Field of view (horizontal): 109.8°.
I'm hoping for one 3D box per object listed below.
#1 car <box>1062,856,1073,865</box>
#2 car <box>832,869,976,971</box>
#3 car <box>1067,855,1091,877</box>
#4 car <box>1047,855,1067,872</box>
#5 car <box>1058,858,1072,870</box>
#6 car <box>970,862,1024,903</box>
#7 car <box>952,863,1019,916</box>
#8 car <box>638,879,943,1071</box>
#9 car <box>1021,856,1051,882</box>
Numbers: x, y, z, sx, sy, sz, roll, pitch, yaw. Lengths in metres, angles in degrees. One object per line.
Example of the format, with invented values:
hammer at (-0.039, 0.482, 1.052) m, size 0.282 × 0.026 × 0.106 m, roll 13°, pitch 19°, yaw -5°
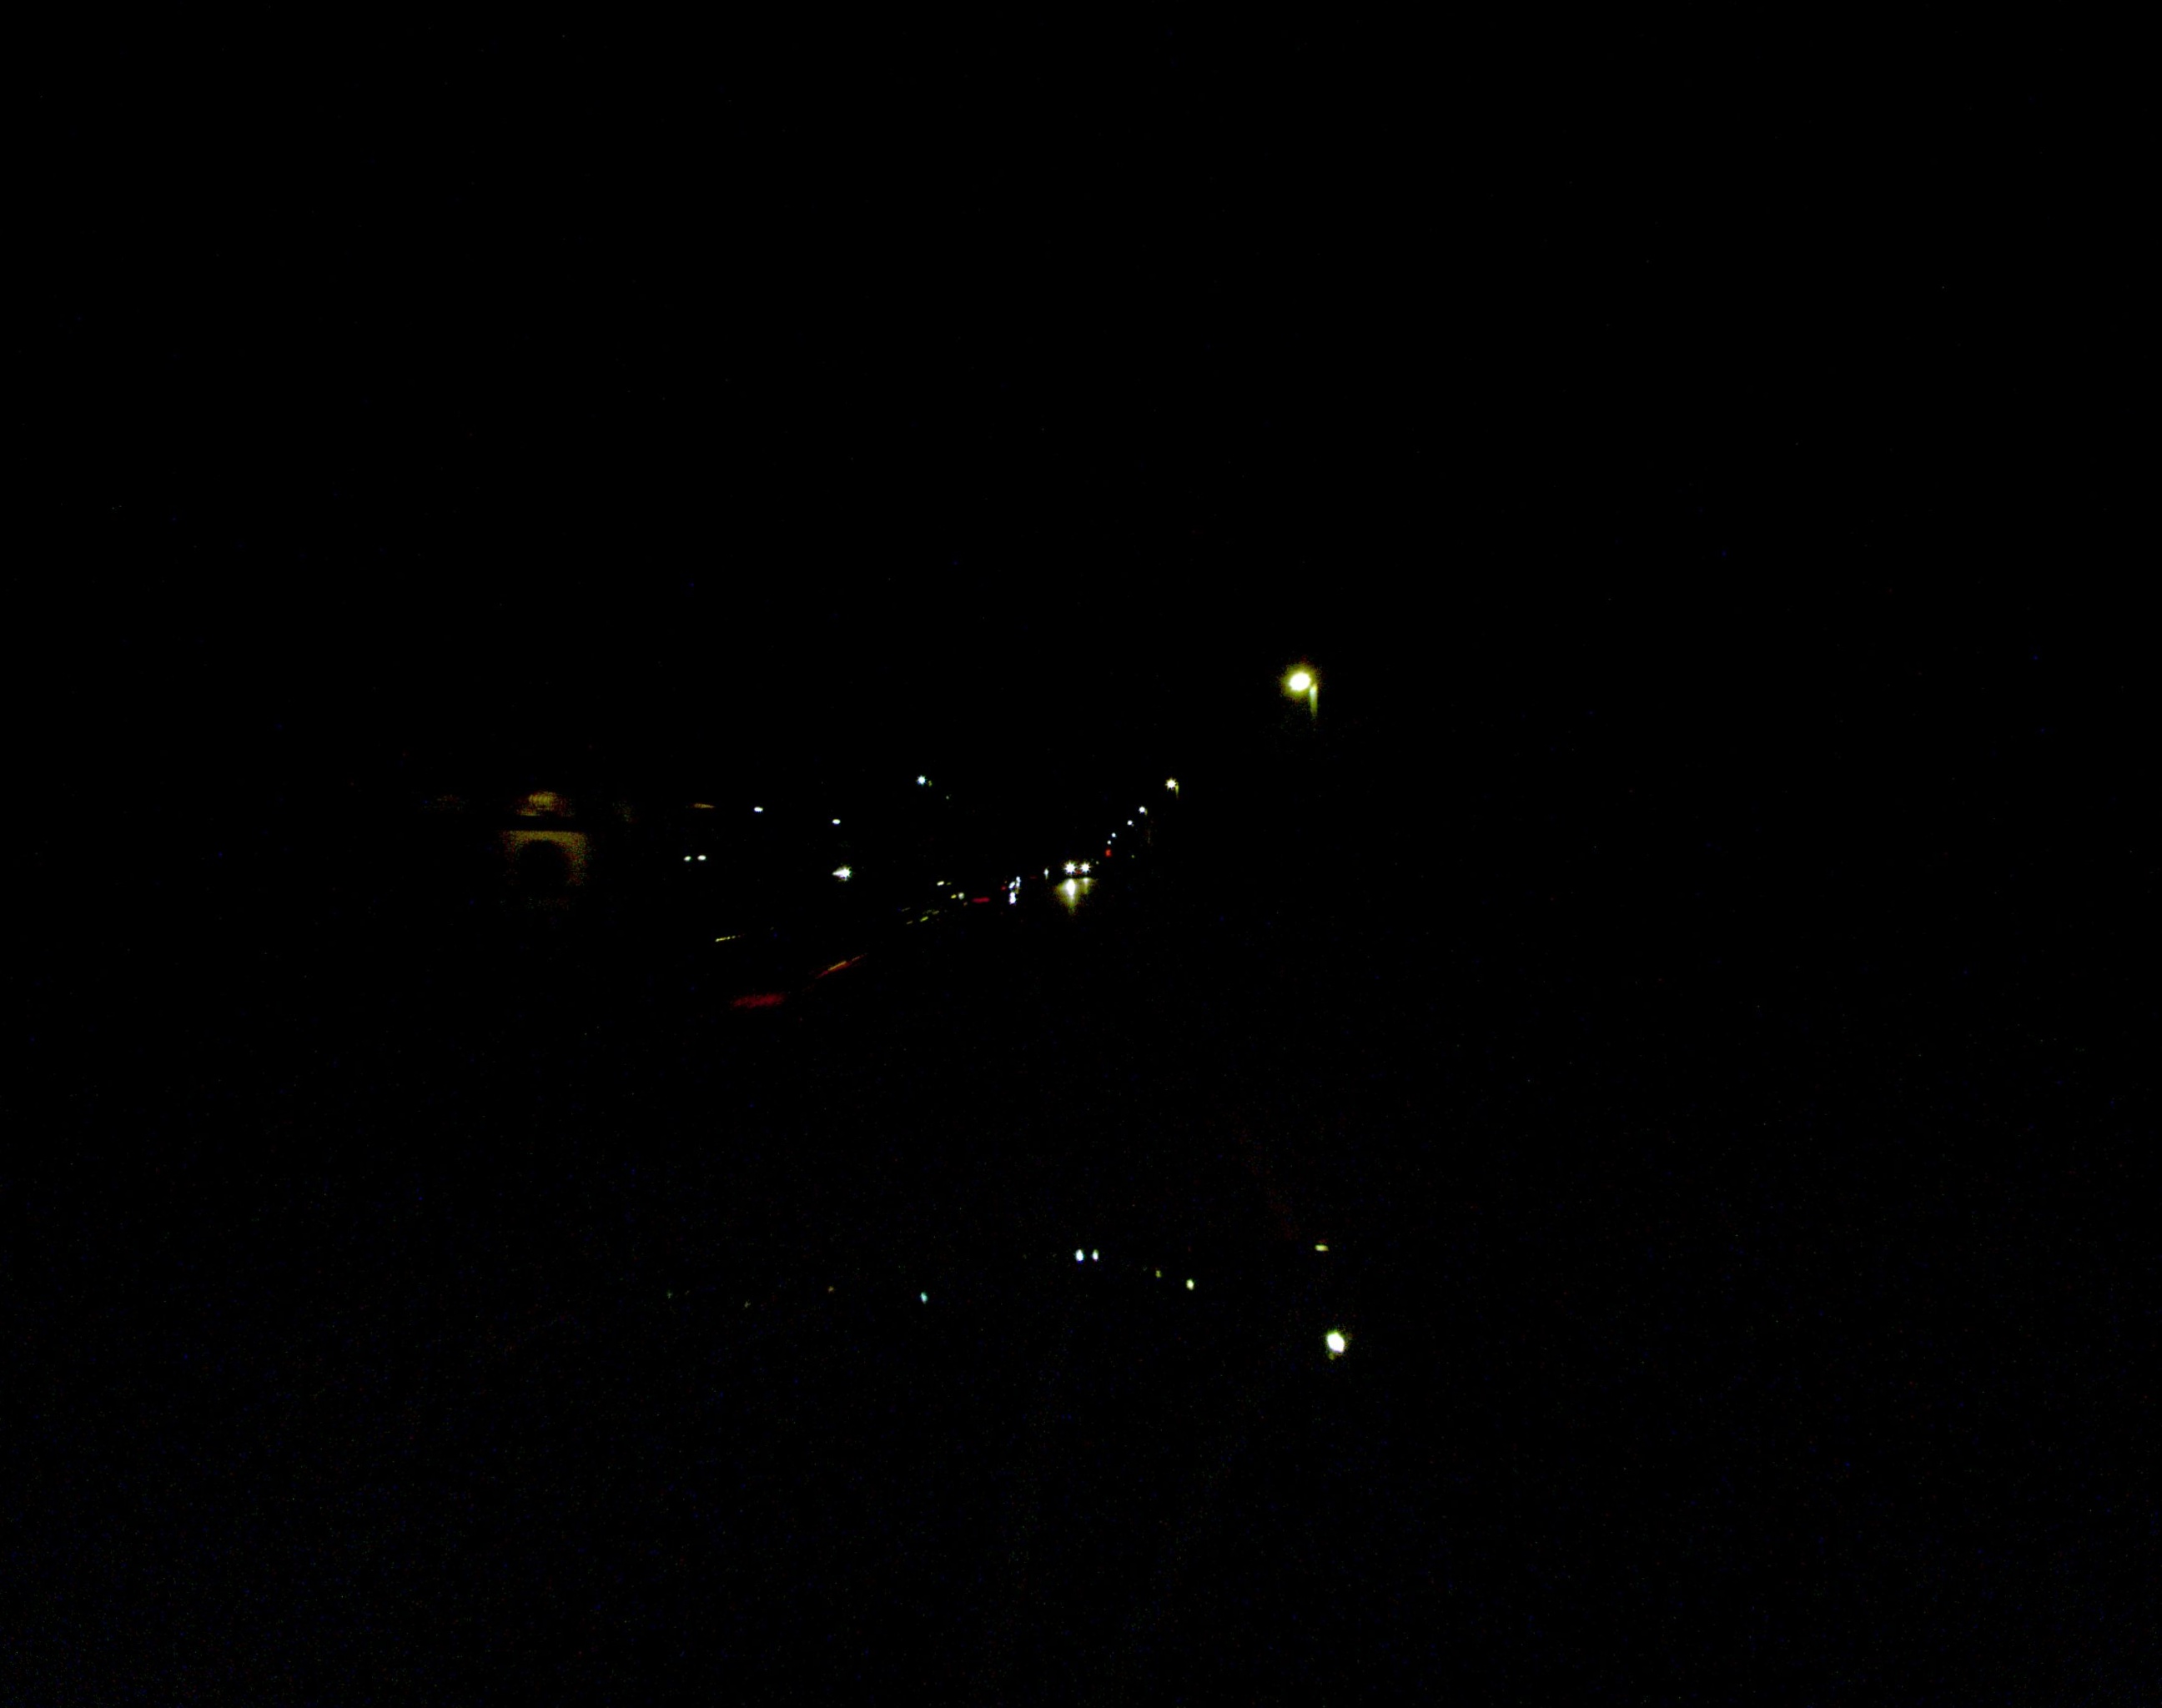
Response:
car at (-2.298, 1.157, 130.885) m, size 1.702 × 1.447 × 3.713 m, roll -3°, pitch 0°, yaw -1°
car at (-3.072, 1.085, 13.942) m, size 1.643 × 1.458 × 3.776 m, roll -3°, pitch 0°, yaw 0°
car at (-0.170, 0.828, 55.905) m, size 1.627 × 1.495 × 3.549 m, roll -3°, pitch 0°, yaw -1°
car at (-2.203, 0.834, 71.011) m, size 1.702 × 1.447 × 3.713 m, roll -3°, pitch 0°, yaw -1°
car at (-2.086, 1.363, 101.128) m, size 1.702 × 1.447 × 3.713 m, roll -3°, pitch 0°, yaw -1°
car at (-3.186, 1.064, 29.417) m, size 1.604 × 1.390 × 3.517 m, roll -3°, pitch 0°, yaw 0°
car at (-2.957, 1.058, 24.186) m, size 1.681 × 1.439 × 3.999 m, roll -2°, pitch 0°, yaw -1°
car at (-2.871, 1.100, 8.683) m, size 1.766 × 1.407 × 4.439 m, roll -2°, pitch 0°, yaw -1°
car at (-2.809, 0.930, 48.173) m, size 1.656 × 1.465 × 3.517 m, roll -3°, pitch 0°, yaw -1°
